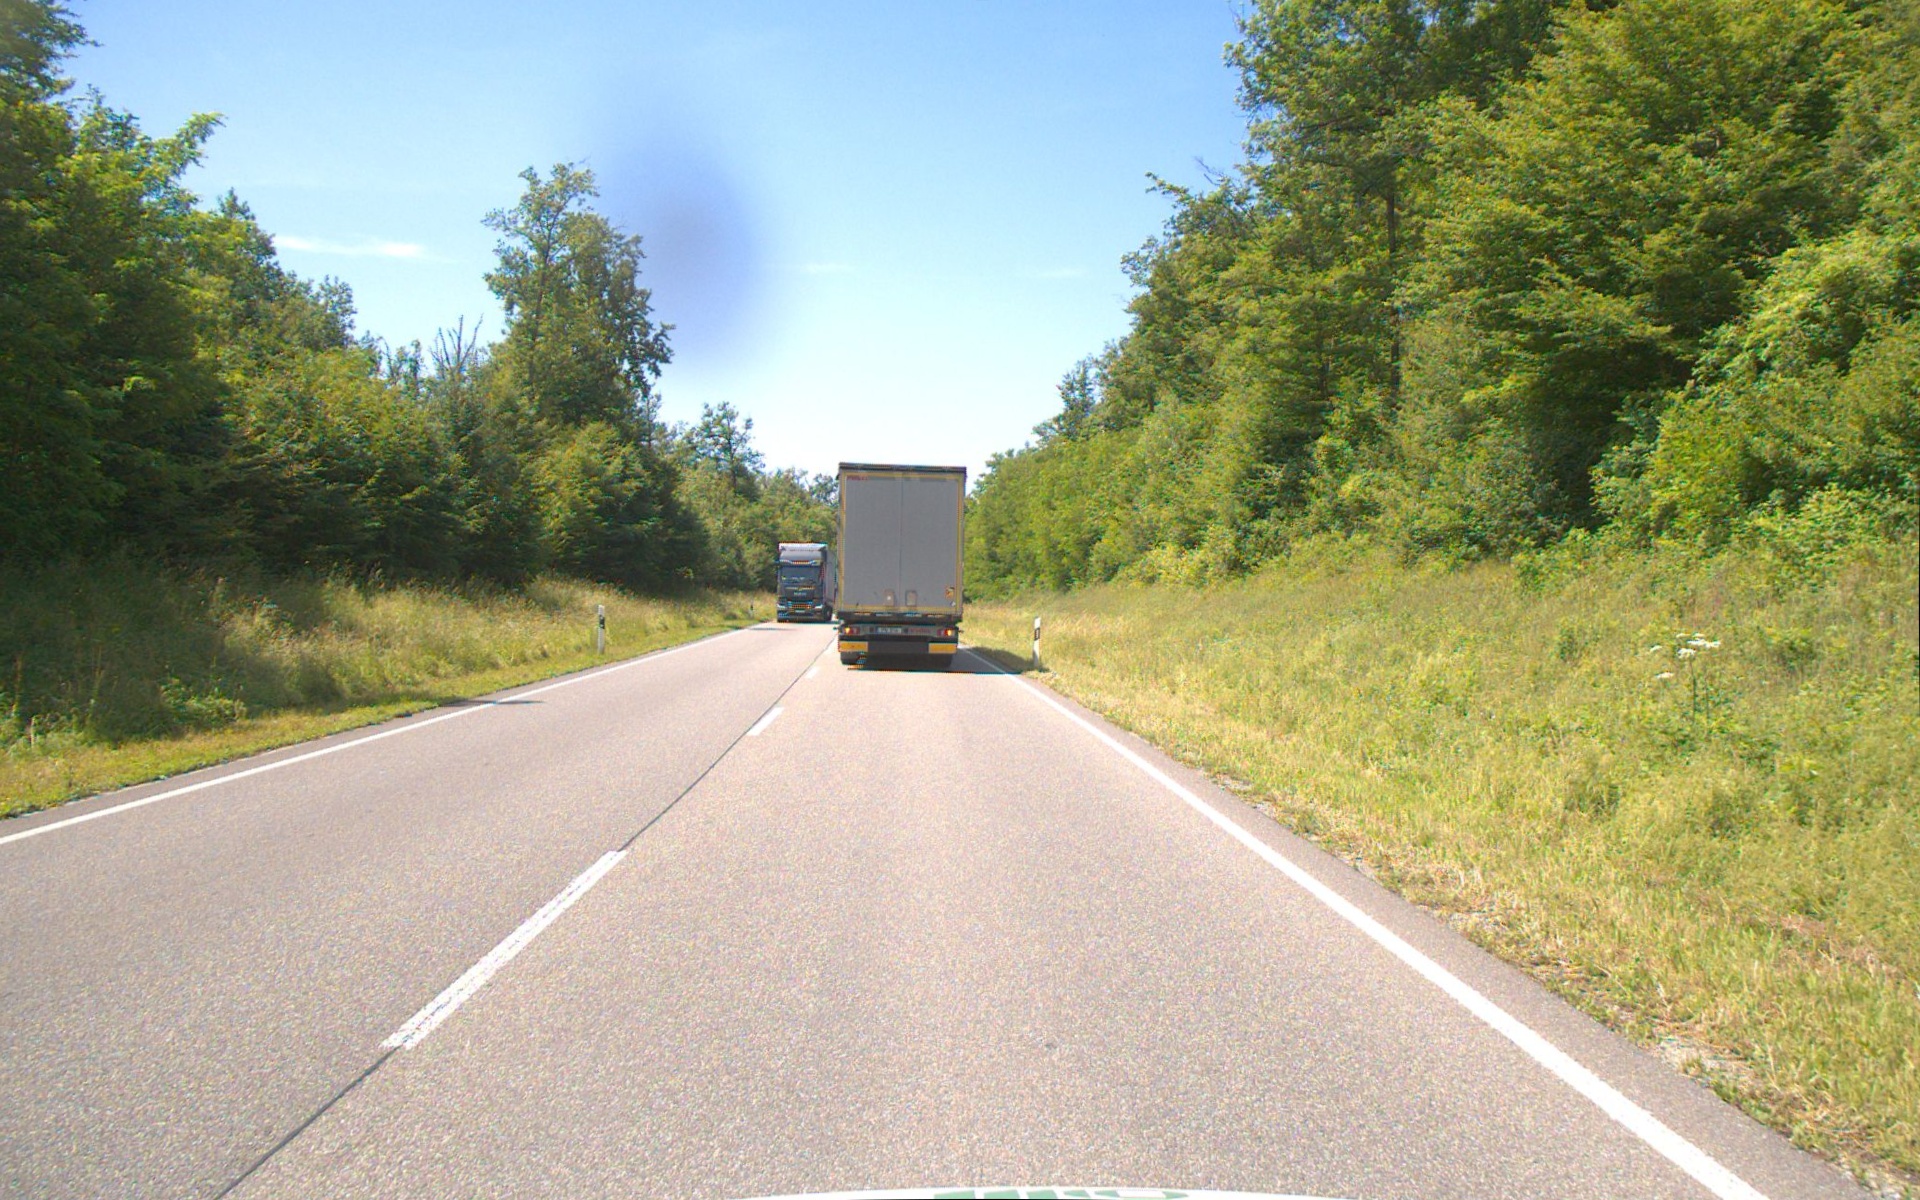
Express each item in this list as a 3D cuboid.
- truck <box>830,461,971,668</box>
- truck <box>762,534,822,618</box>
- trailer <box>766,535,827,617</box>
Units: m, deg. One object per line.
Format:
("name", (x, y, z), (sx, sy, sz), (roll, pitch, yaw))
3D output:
("truck", (-1.457, -0.739, 38.427), (2.706, 4.016, 12.191), (1, 0, -3))
("truck", (-8.829, -1.261, 87.448), (2.864, 4.289, 5.340), (0, 0, -3))
("trailer", (-9.236, -1.309, 94.771), (2.883, 4.327, 13.611), (0, 0, -3))
